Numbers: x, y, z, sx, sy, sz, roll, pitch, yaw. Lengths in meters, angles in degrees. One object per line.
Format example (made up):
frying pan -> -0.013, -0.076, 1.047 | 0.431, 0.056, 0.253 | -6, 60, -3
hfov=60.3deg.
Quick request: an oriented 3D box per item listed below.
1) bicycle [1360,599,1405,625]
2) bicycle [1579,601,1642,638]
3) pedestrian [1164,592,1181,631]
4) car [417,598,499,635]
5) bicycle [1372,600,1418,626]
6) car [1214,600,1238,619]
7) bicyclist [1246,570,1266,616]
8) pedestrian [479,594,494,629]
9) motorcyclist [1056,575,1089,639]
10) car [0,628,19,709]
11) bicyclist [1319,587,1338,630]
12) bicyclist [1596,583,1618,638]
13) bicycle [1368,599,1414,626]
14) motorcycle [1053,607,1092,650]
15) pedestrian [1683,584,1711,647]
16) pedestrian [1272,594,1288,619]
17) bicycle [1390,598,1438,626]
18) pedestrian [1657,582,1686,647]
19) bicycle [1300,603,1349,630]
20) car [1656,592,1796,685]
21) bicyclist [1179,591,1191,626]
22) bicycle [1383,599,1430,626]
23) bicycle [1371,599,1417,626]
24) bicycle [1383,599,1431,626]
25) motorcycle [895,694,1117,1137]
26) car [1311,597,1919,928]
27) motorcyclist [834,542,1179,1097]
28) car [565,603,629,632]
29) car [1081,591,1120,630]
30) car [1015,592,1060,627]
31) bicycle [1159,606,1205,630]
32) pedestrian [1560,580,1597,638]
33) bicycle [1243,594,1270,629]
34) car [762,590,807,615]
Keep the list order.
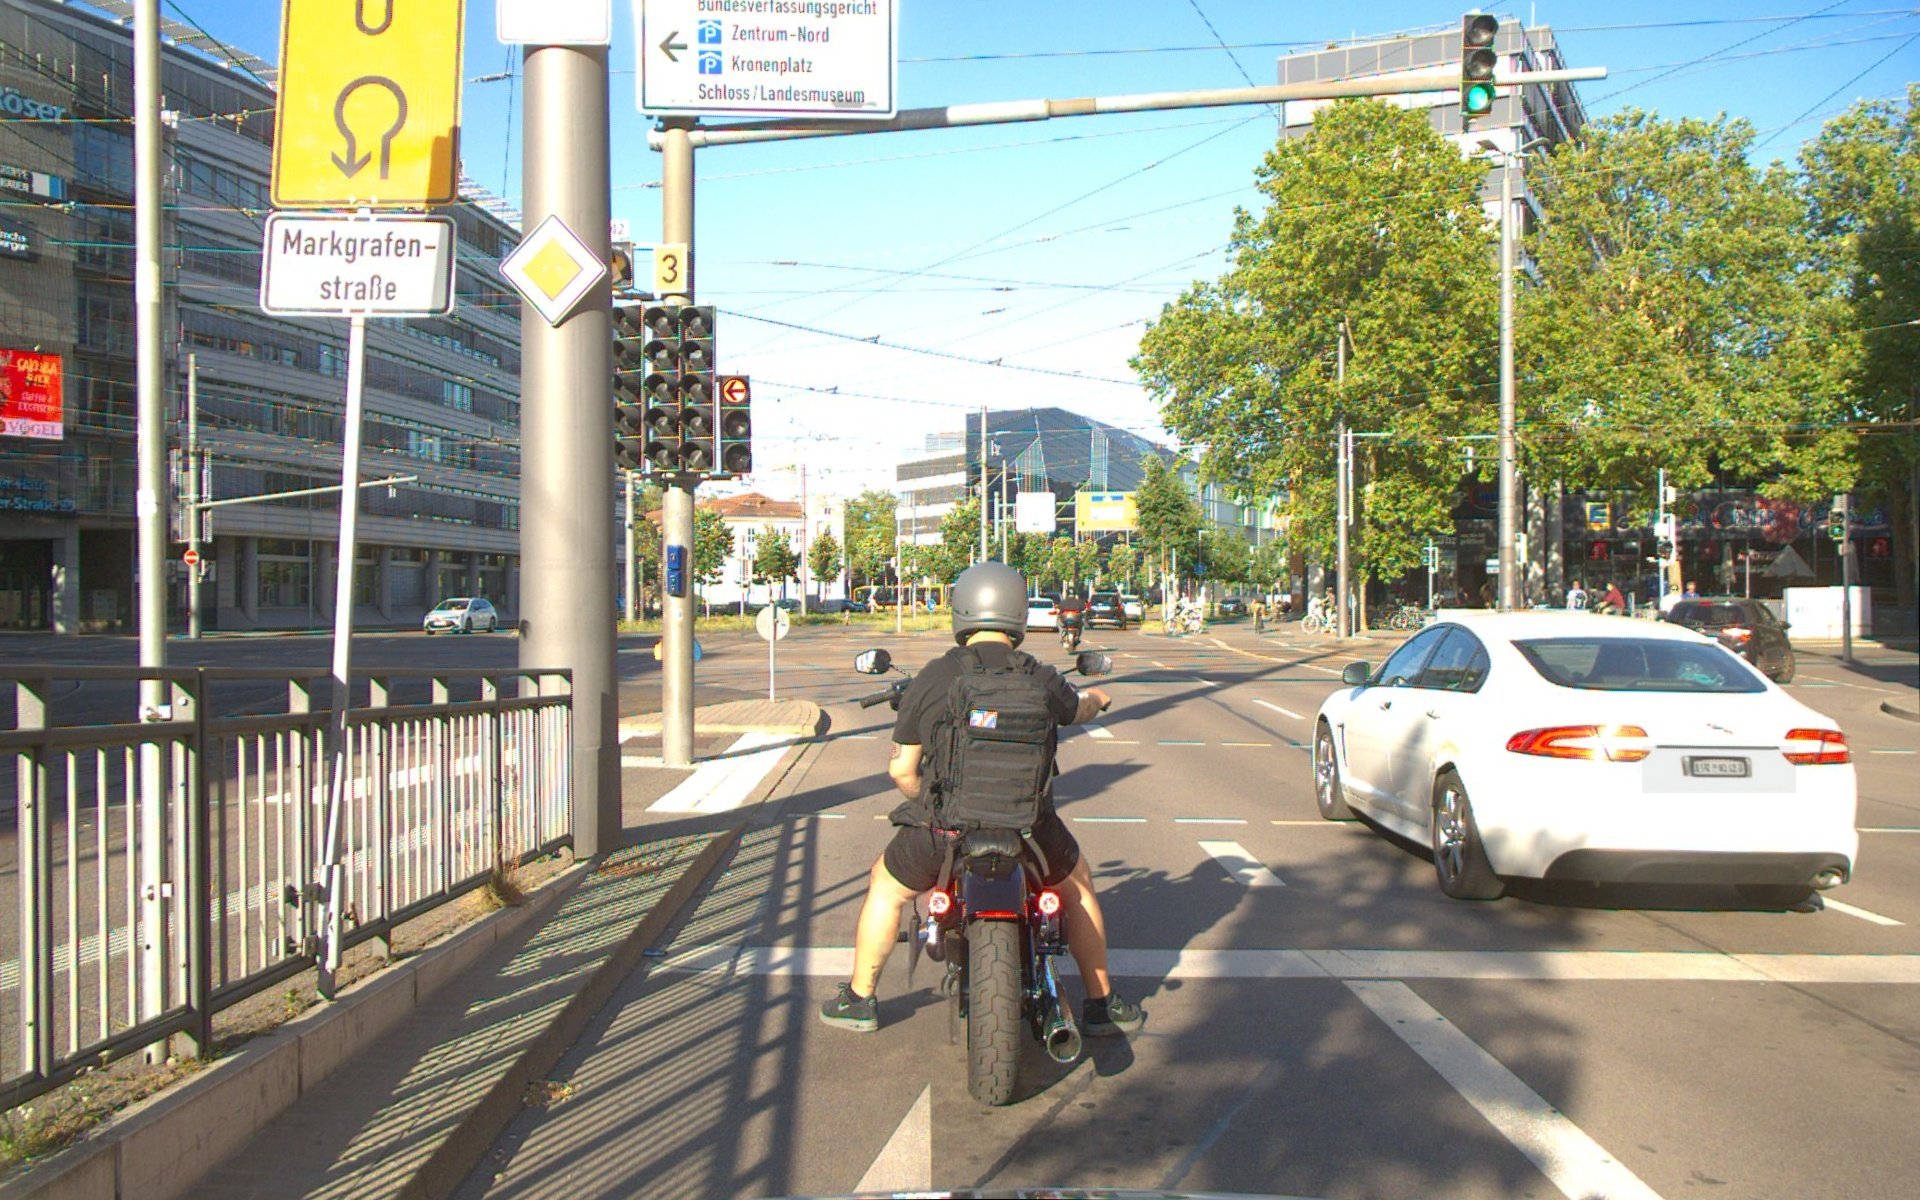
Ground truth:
bicycle -> 18.107, 0.527, 70.917 | 1.842, 1.064, 0.360 | 1, 0, -2
bicycle -> 22.386, 0.679, 56.918 | 2.001, 1.235, 0.421 | 1, -1, -1
pedestrian -> 8.825, 0.485, 68.666 | 0.576, 1.584, 0.488 | 1, -1, -9
car -> -20.808, 0.650, 68.725 | 1.787, 1.455, 4.532 | 0, 0, 3
bicycle -> 18.084, 0.535, 68.778 | 1.842, 1.065, 0.360 | 1, -1, -2
car -> 24.432, 0.902, 151.866 | 1.765, 1.708, 4.043 | 1, -1, 15
bicyclist -> 12.050, -0.286, 67.359 | 0.682, 1.840, 0.729 | 1, -1, 3
pedestrian -> -27.894, 0.665, 97.392 | 0.617, 2.049, 0.754 | 1, -1, -1
motorcyclist -> 2.881, 0.184, 42.253 | 0.780, 1.607, 0.529 | 1, -1, -2
car -> -14.502, 0.906, 22.433 | 2.835, 1.081, 1.235 | 1, -1, -22
bicyclist -> 14.568, 0.344, 65.402 | 0.673, 1.702, 0.541 | 0, -1, 18
bicyclist -> 22.267, 0.362, 56.926 | 0.572, 1.870, 0.402 | 1, -1, -1
bicycle -> 18.177, 0.527, 69.767 | 1.842, 1.064, 0.360 | 1, 0, -2
motorcycle -> 2.873, 0.725, 42.383 | 0.787, 1.069, 2.375 | 1, -1, -1
pedestrian -> 17.919, 0.381, 40.213 | 0.554, 1.505, 0.702 | 1, -1, 20
pedestrian -> 17.582, 0.364, 90.976 | 0.802, 1.337, 0.638 | 1, -1, 8
bicycle -> 18.116, 0.473, 65.993 | 1.842, 1.065, 0.360 | 1, -1, -2
pedestrian -> 17.337, 0.347, 40.322 | 0.554, 1.559, 0.702 | 1, -1, 17
bicycle -> 14.413, 0.666, 65.445 | 1.831, 1.062, 0.537 | 0, -1, 18
car -> 13.381, 0.621, 28.775 | 1.700, 1.475, 4.030 | 1, 0, 32
bicyclist -> 9.140, 0.353, 67.223 | 0.374, 1.397, 0.344 | 1, -1, -9
bicycle -> 18.245, 0.515, 67.594 | 1.842, 1.065, 0.360 | 1, -1, -2
bicycle -> 18.181, 0.529, 69.267 | 1.842, 1.064, 0.360 | 1, 0, -2
bicycle -> 18.058, 0.491, 66.774 | 1.842, 1.065, 0.360 | 1, -1, -2
motorcycle -> 0.110, 0.923, 5.618 | 0.588, 1.054, 2.233 | 1, 0, -1
car -> 3.393, 0.719, 9.594 | 1.766, 1.455, 4.453 | 0, 0, 0
motorcyclist -> 0.131, 0.641, 5.289 | 1.009, 1.621, 0.873 | 0, 0, -1
car -> -19.042, 0.904, 86.958 | 1.786, 1.455, 4.244 | 1, -1, 11
car -> 6.689, 0.487, 79.065 | 1.695, 1.762, 4.614 | 1, 1, 3
car -> 3.331, 0.422, 71.798 | 1.696, 1.482, 4.417 | 1, -1, -1
bicycle -> 9.015, 0.717, 67.196 | 1.792, 0.942, 0.357 | 1, -1, -9
pedestrian -> 18.791, 0.271, 50.285 | 0.816, 1.734, 0.759 | 1, -1, -1
bicycle -> 12.046, 0.484, 67.249 | 0.710, 1.391, 2.918 | 1, -1, 3
car -> -11.646, 0.185, 109.970 | 1.712, 1.550, 4.003 | 1, -1, 13
